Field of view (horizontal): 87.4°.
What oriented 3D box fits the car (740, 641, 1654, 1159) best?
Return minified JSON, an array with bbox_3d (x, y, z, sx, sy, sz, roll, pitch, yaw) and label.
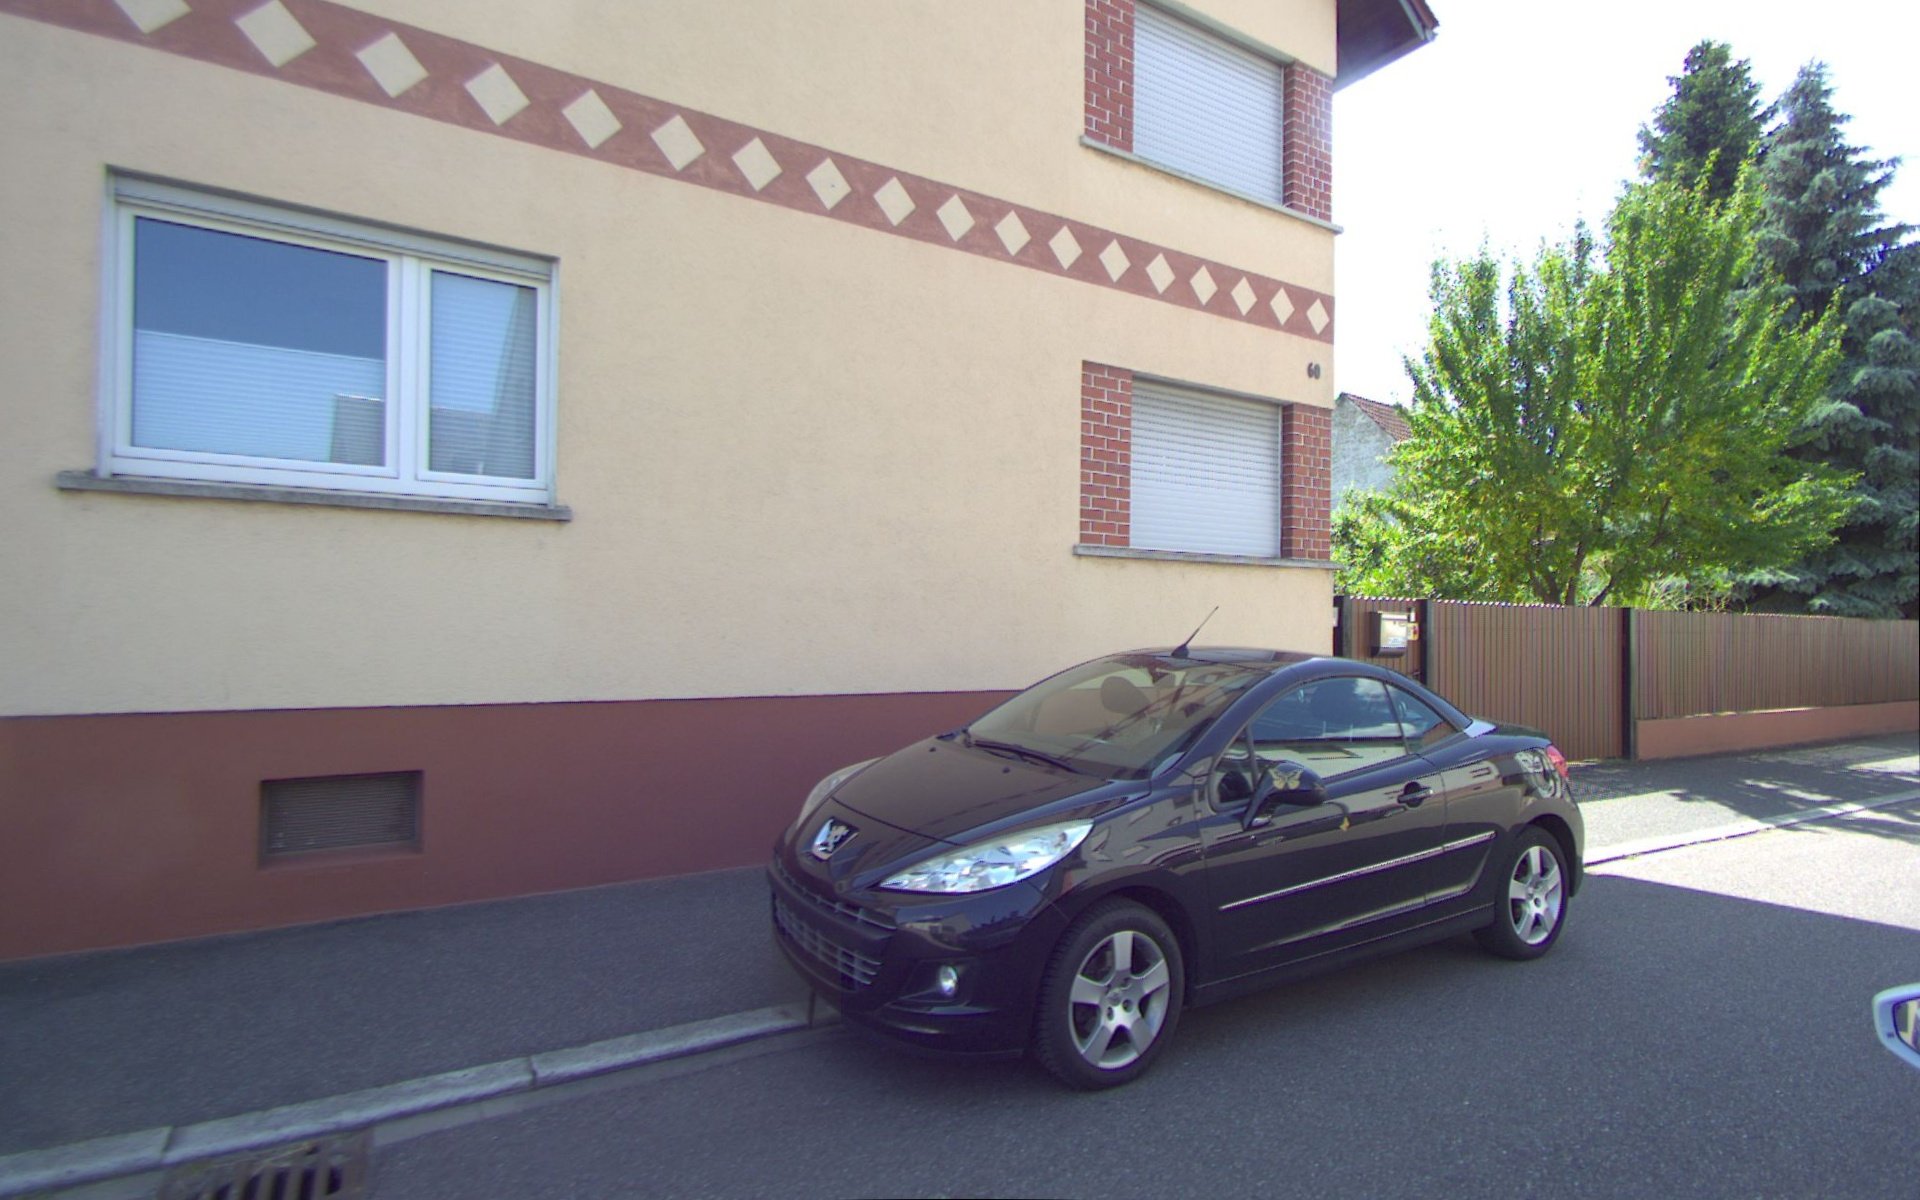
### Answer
[{"bbox_3d":[1.219,0.923,4.632,4.019,1.392,1.752,1,0,-31],"label":"car"}]
